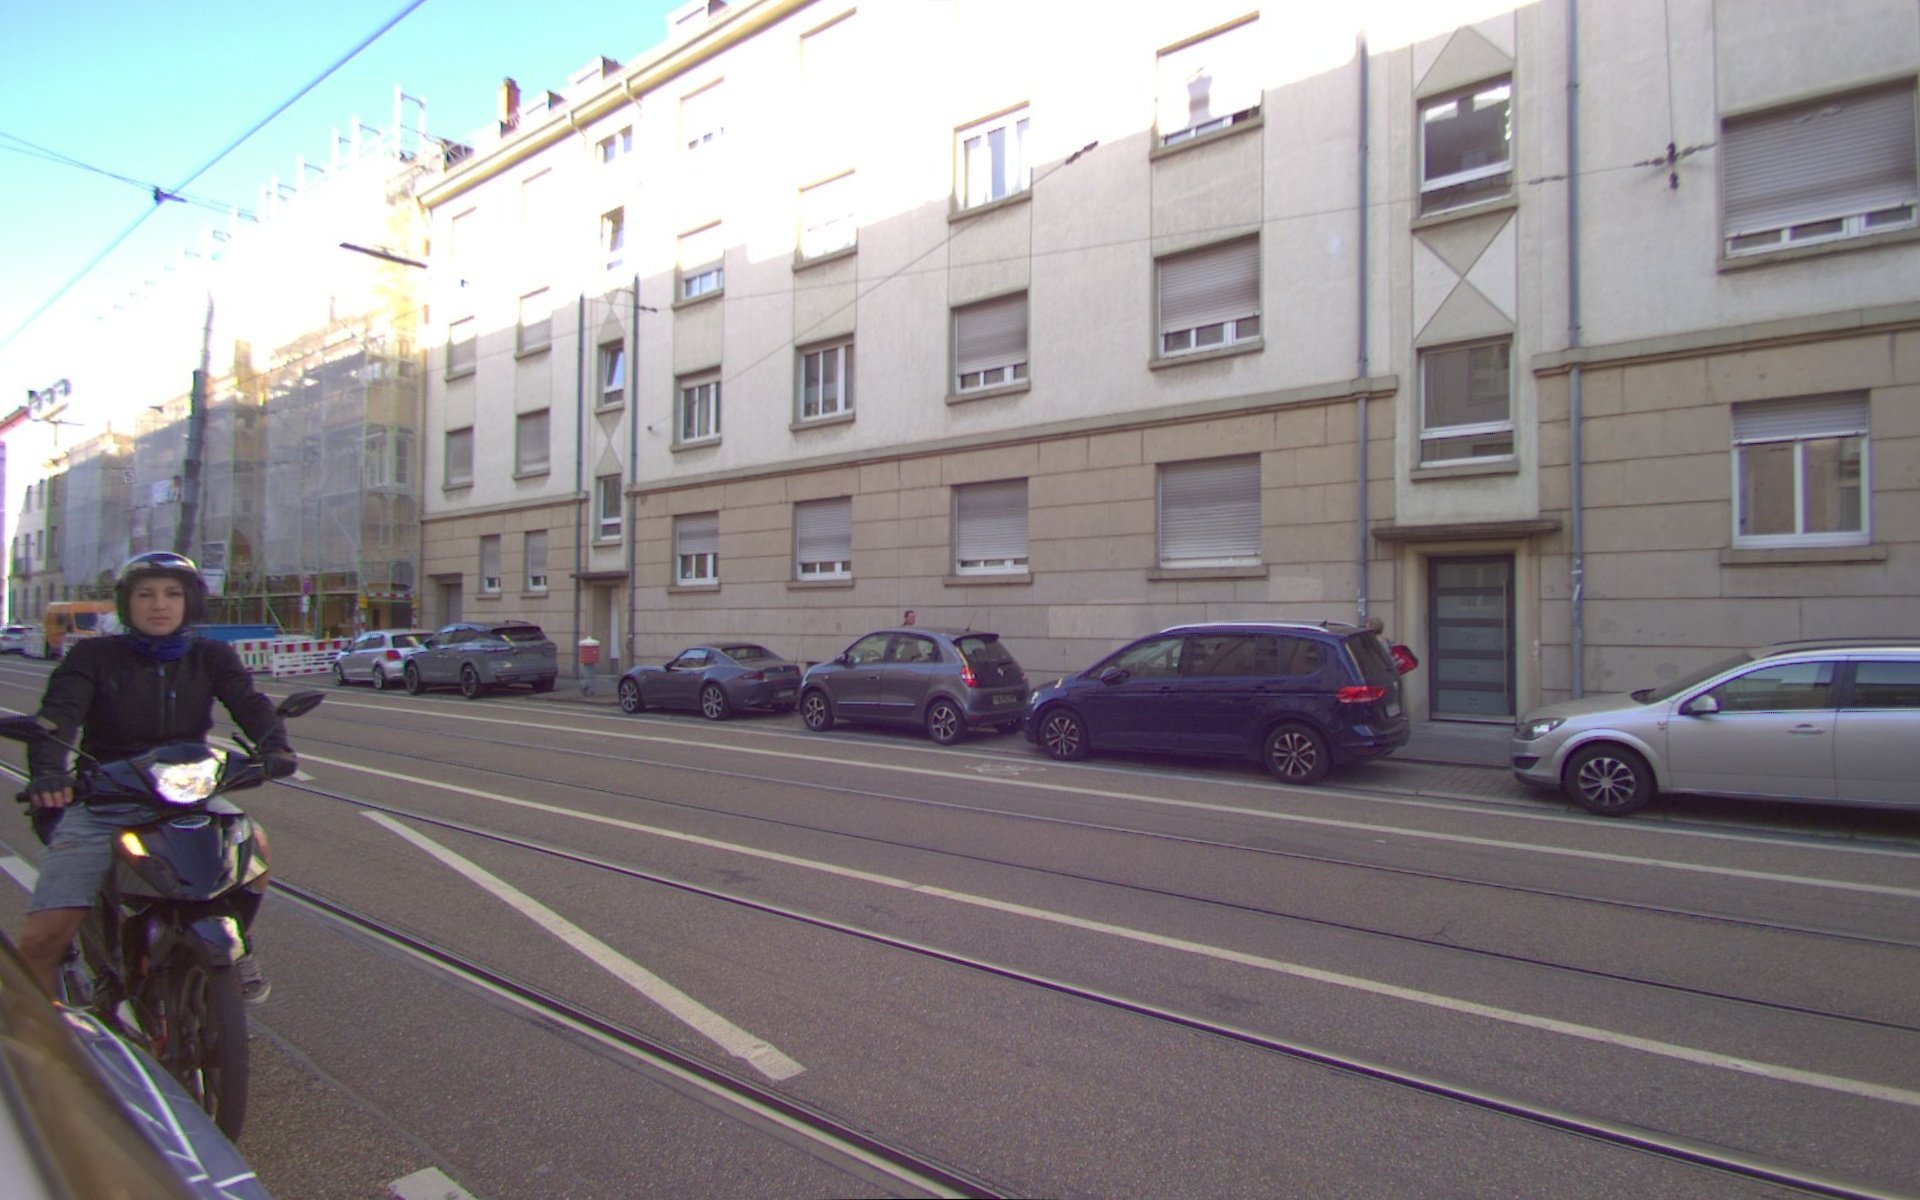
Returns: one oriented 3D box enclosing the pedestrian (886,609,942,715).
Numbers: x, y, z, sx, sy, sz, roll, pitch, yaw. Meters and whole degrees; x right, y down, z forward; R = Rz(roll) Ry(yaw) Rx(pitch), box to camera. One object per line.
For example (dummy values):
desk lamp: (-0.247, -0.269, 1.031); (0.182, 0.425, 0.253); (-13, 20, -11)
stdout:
pedestrian: (-0.776, 1.025, 16.958); (0.729, 1.722, 0.597); (-2, -3, 39)

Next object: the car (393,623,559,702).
car: (-10.884, 1.329, 22.658); (4.201, 1.611, 1.675); (-1, -1, 38)

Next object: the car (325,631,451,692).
car: (-14.386, 1.493, 25.395); (3.506, 1.423, 1.524); (-1, -1, 38)

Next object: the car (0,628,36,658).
car: (-50.068, 2.261, 53.338); (3.964, 1.498, 1.662); (-2, -1, 42)

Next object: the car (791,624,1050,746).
car: (-0.629, 1.129, 14.653); (3.535, 1.539, 1.659); (-1, -1, 38)

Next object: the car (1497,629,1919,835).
car: (7.126, 0.999, 8.501); (4.383, 1.489, 1.779); (-1, -1, 38)

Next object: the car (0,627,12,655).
car: (-54.584, 2.315, 56.814); (3.964, 1.498, 1.662); (-2, -1, 42)

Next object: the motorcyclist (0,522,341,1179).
motorcyclist: (-2.543, 0.653, 3.159); (0.899, 1.668, 0.781); (-2, -3, 41)

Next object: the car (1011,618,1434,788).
car: (2.892, 1.029, 11.675); (4.383, 1.611, 1.779); (-1, -1, 38)

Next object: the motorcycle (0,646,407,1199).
motorcycle: (-2.640, 0.814, 3.236); (2.272, 1.302, 0.781); (-2, -3, 41)

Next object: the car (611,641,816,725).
car: (-4.315, 1.362, 17.499); (3.681, 1.244, 1.502); (-1, -1, 38)

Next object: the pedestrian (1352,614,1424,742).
pedestrian: (5.359, 0.958, 12.687); (0.693, 1.553, 0.563); (-2, -3, 39)
